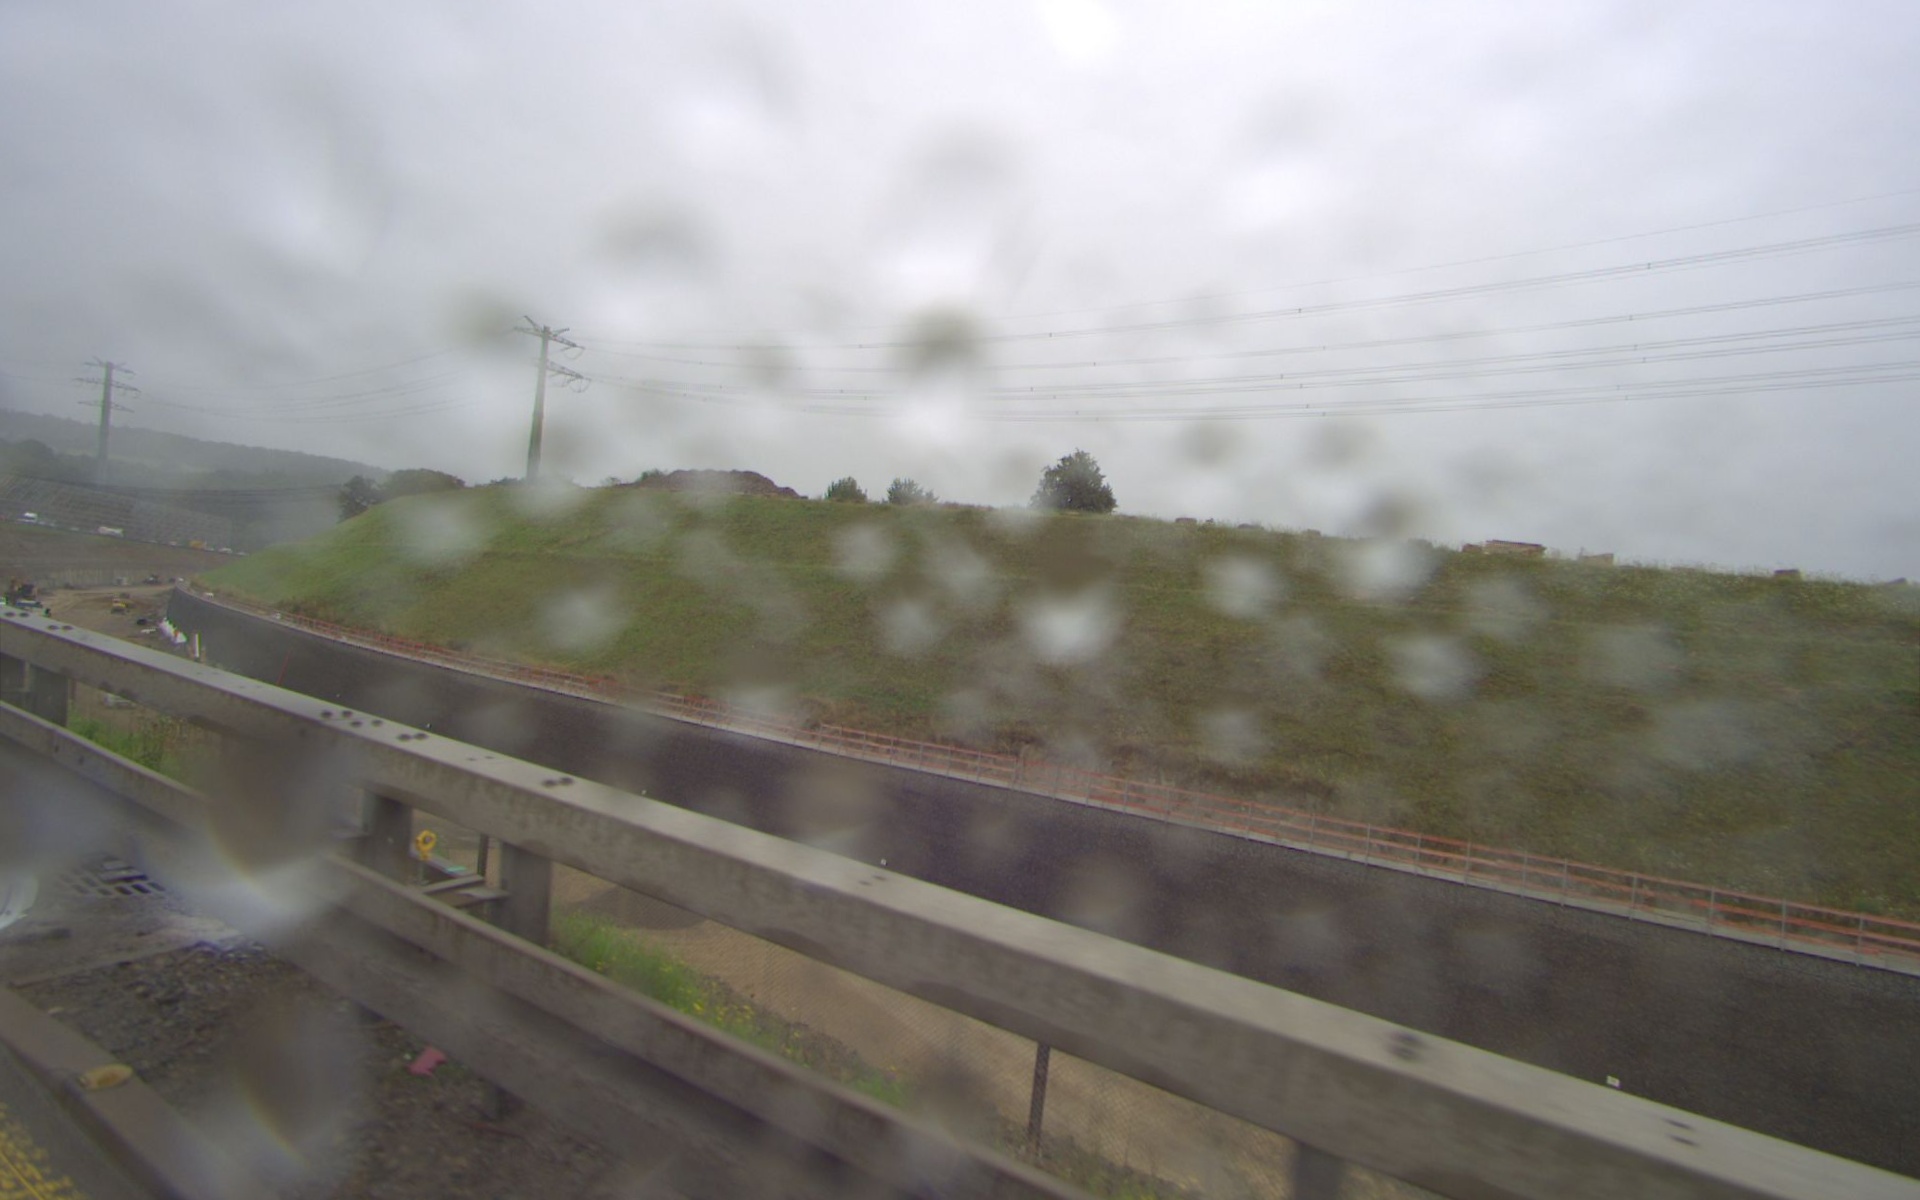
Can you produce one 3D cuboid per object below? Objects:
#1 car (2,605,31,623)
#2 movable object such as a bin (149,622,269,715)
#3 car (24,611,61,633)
[{"bbox_3d":[-123.542,1.836,131.703,3.941,1.837,1.994,6,-2,38],"label":"car"},{"bbox_3d":[-38.165,3.477,51.138,4.055,3.910,3.221,8,-3,33],"label":"movable object such as a bin"},{"bbox_3d":[-110.119,2.594,120.735,3.938,2.036,2.368,6,-2,36],"label":"car"}]
